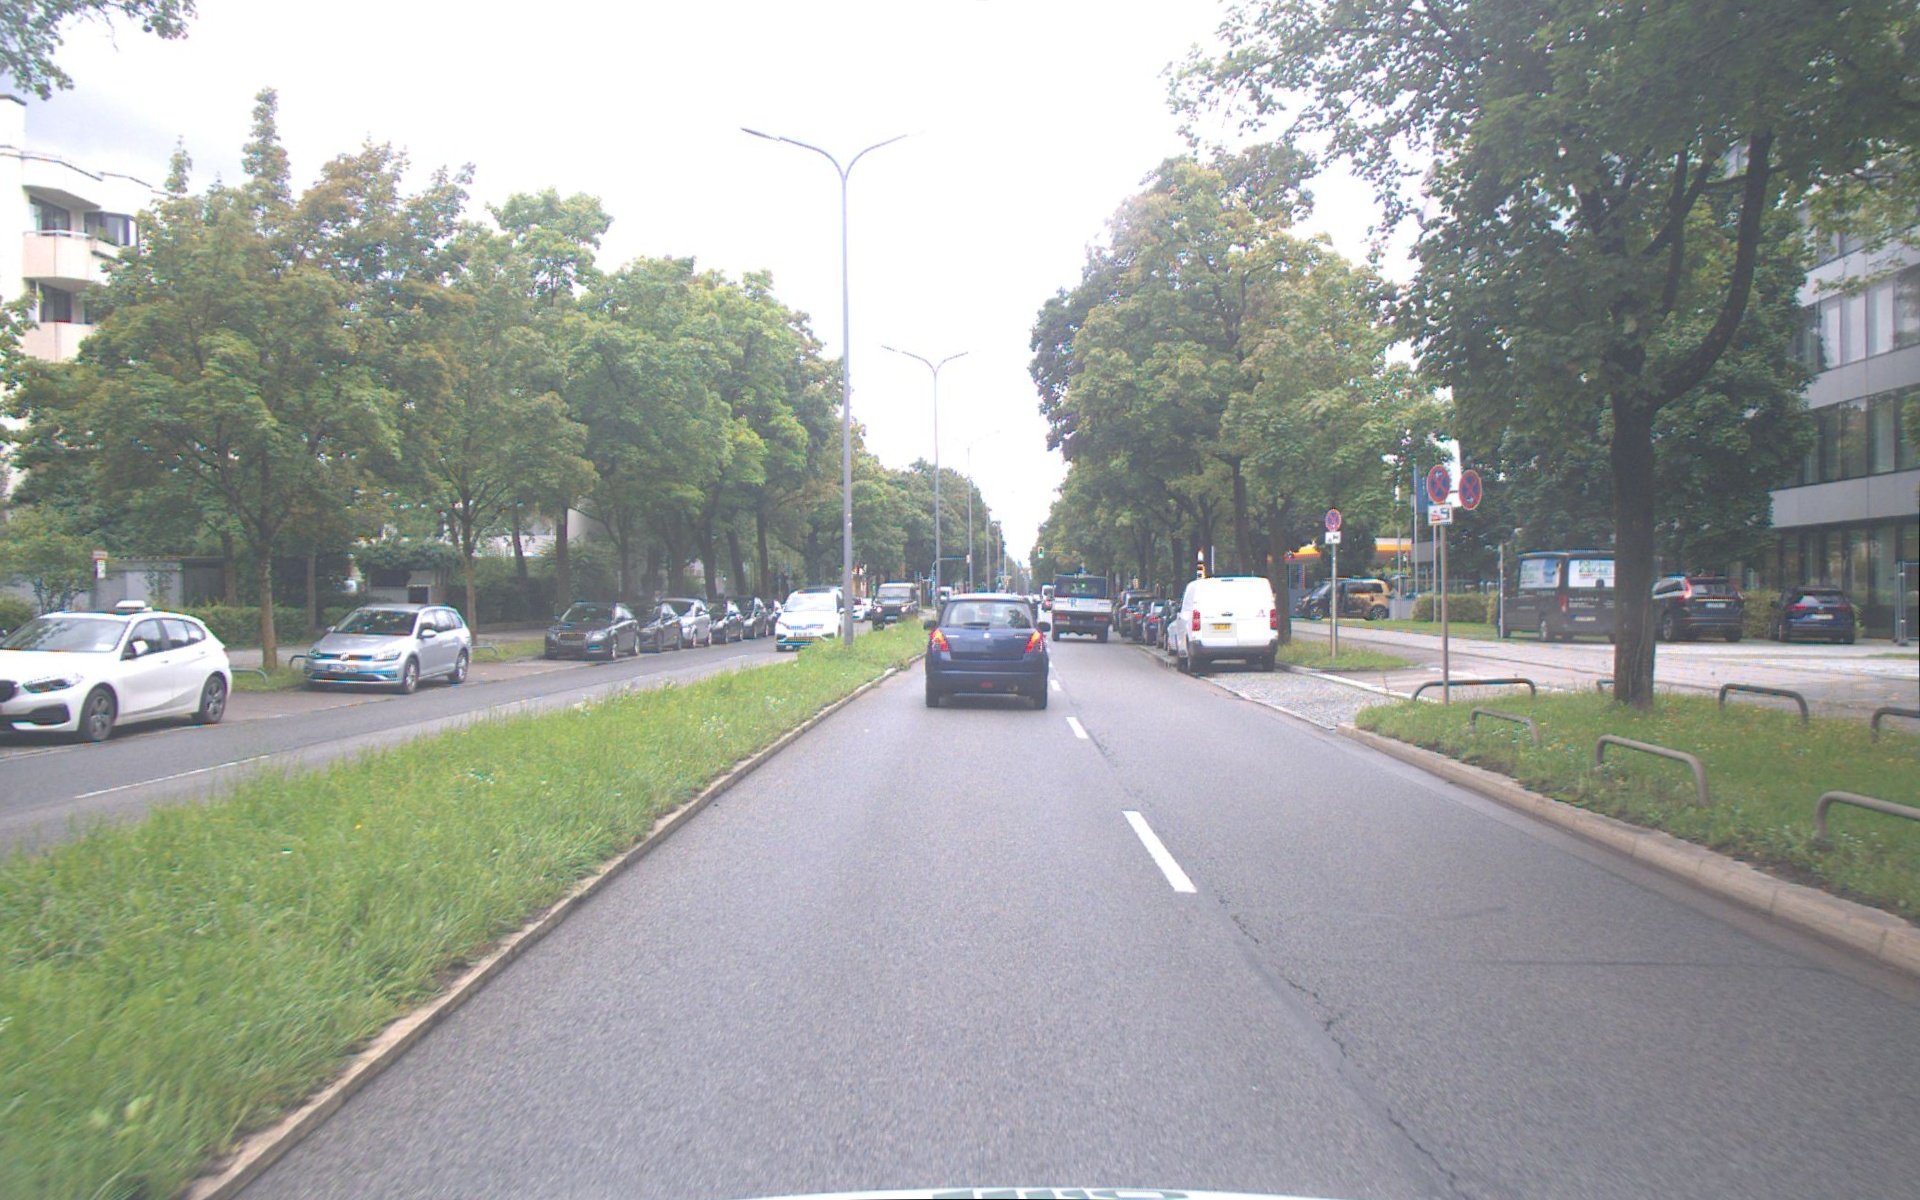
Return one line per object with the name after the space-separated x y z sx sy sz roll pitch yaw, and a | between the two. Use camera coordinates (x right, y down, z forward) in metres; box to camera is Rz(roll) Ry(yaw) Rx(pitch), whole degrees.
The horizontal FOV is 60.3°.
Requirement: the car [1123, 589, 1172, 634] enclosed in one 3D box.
7.399 0.427 65.577 1.775 1.705 4.802 -1 0 5 | car

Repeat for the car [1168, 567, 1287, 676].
5.813 0.426 36.568 1.946 2.195 5.557 -1 0 3 | car

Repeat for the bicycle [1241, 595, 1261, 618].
15.831 0.337 90.052 0.733 1.203 2.247 -1 0 2 | bicycle

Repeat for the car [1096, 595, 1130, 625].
8.413 0.507 90.999 1.742 1.537 4.287 -2 0 4 | car

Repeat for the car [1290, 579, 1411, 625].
18.751 0.085 79.552 5.356 2.120 2.147 -1 0 2 | car

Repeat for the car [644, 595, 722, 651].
-8.862 0.711 53.140 1.592 1.676 3.869 2 0 3 | car

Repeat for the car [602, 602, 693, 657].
-9.089 0.840 48.448 1.591 1.448 4.194 2 0 3 | car

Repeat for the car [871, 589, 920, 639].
-2.800 0.594 72.887 1.743 2.065 4.819 -1 0 2 | car

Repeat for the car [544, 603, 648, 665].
-9.370 0.838 42.846 1.548 1.448 4.364 2 0 2 | car

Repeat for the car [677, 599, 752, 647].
-8.594 0.781 58.348 1.680 1.551 5.036 2 0 2 | car

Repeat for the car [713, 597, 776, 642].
-8.291 0.719 63.934 1.650 1.625 4.212 2 0 3 | car

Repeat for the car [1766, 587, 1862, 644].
22.169 0.379 43.036 1.745 1.398 3.965 0 0 20 | car

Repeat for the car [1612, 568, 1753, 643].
19.084 0.124 43.893 1.804 1.850 4.472 -1 0 1 | car

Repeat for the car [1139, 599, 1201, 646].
6.783 0.706 53.848 1.666 1.446 4.122 -1 0 3 | car

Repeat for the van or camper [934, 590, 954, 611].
-1.947 0.086 202.392 2.095 2.519 6.261 -1 0 3 | van or camper

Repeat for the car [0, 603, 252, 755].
-10.455 0.849 19.945 1.702 1.556 4.477 1 0 3 | car

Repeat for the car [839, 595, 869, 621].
-6.619 0.512 103.586 1.656 1.593 3.080 -1 0 1 | car

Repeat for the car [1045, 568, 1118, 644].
4.186 0.185 56.878 2.368 2.487 5.089 1 0 4 | car

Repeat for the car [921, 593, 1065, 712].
0.418 0.673 23.210 1.857 1.525 3.660 0 0 0 | car

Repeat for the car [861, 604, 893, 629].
-5.429 1.061 108.893 1.639 1.501 4.217 2 0 3 | car

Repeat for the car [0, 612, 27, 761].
-10.727 0.877 15.162 1.702 1.508 4.335 2 0 3 | car

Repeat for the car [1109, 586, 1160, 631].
7.544 0.340 71.766 1.853 1.831 4.863 -1 0 2 | car

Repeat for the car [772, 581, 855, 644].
-4.134 0.340 47.150 1.796 1.671 4.352 -1 0 2 | car

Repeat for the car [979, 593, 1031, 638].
1.611 0.521 58.956 1.762 1.525 3.661 -1 0 2 | car

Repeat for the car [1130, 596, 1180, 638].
7.088 0.602 60.336 1.666 1.433 4.515 -1 0 5 | car

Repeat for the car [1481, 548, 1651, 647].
15.758 -0.070 43.449 2.218 2.347 6.269 -1 0 1 | car

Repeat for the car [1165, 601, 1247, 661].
6.326 0.759 42.891 1.666 1.422 4.234 -1 0 3 | car

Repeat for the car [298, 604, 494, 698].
-10.064 0.846 29.927 1.700 1.473 4.824 2 0 2 | car

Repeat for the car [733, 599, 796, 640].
-8.068 0.783 68.683 1.723 1.540 4.950 2 0 3 | car
